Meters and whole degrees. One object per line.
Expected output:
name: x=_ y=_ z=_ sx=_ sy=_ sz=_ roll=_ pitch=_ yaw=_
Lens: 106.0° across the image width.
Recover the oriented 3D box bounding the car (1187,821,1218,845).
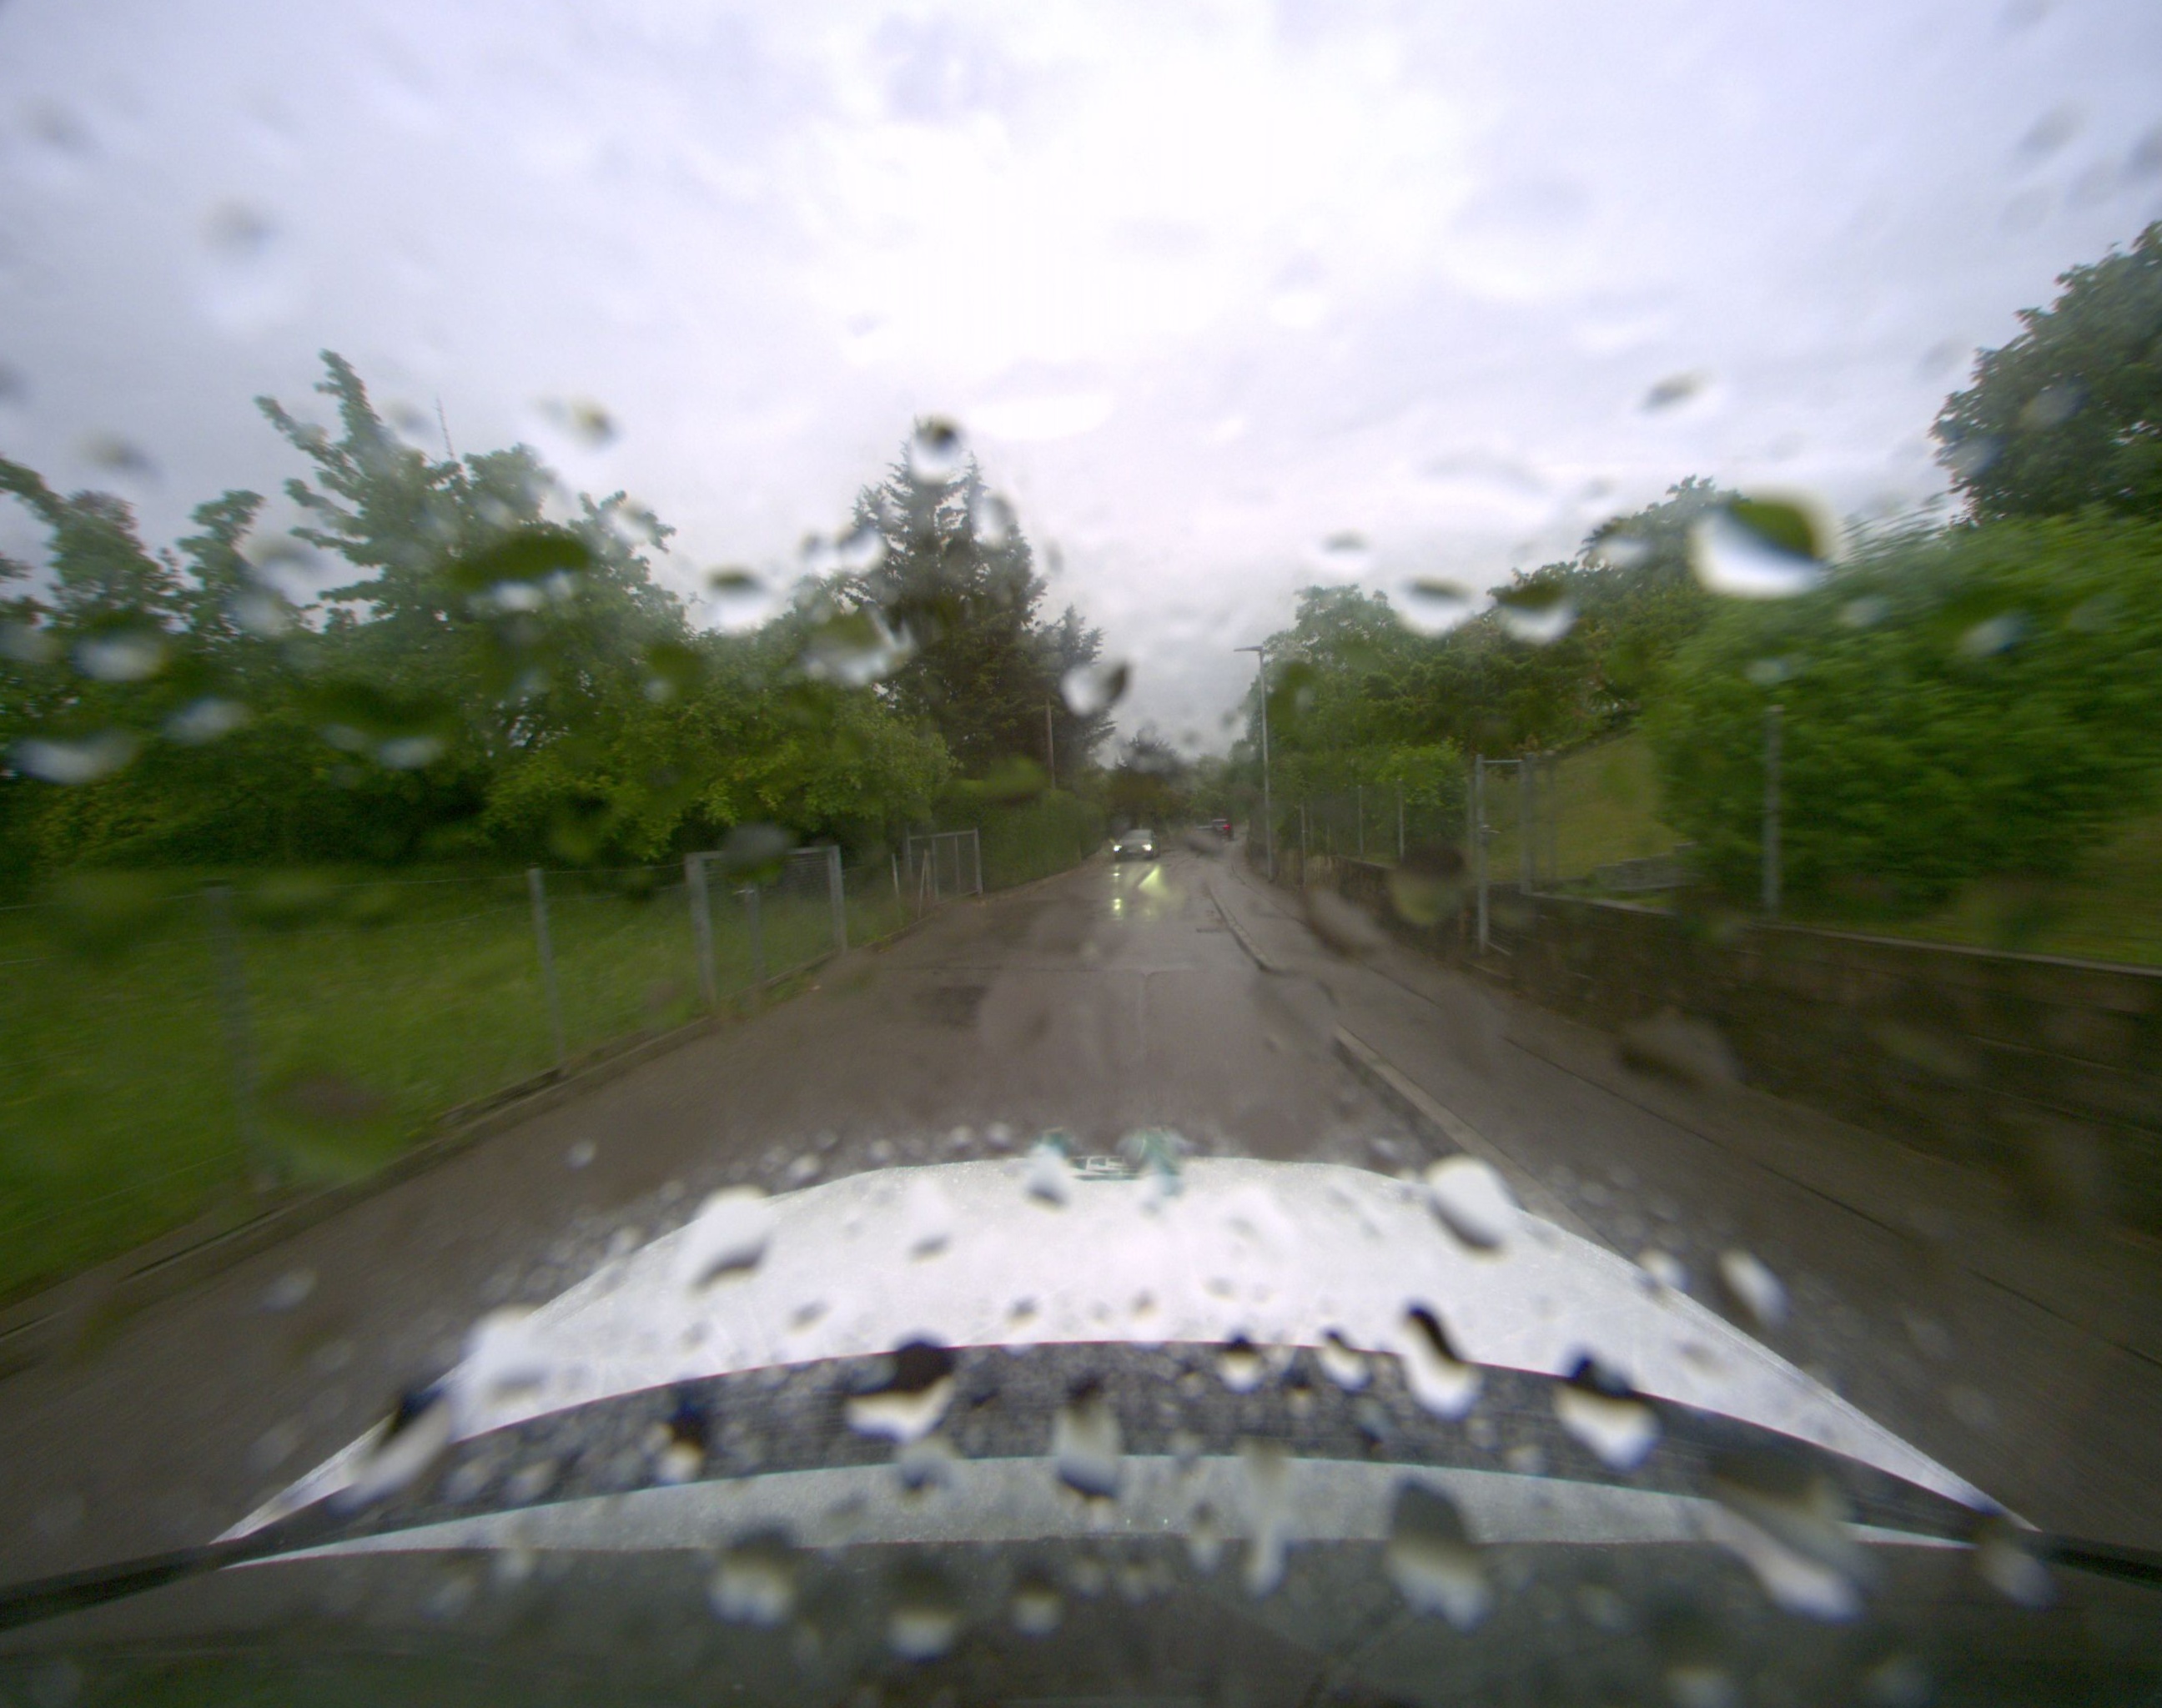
car: x=7.584 y=-1.328 z=50.602 sx=1.624 sy=1.450 sz=3.557 roll=-1 pitch=2 yaw=12

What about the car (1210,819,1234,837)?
car: x=11.604 y=-2.170 z=67.030 sx=1.623 sy=1.413 sz=3.559 roll=-1 pitch=2 yaw=14

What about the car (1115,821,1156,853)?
car: x=2.836 y=-0.902 z=41.478 sx=1.879 sy=1.523 sz=4.430 roll=-1 pitch=2 yaw=6
